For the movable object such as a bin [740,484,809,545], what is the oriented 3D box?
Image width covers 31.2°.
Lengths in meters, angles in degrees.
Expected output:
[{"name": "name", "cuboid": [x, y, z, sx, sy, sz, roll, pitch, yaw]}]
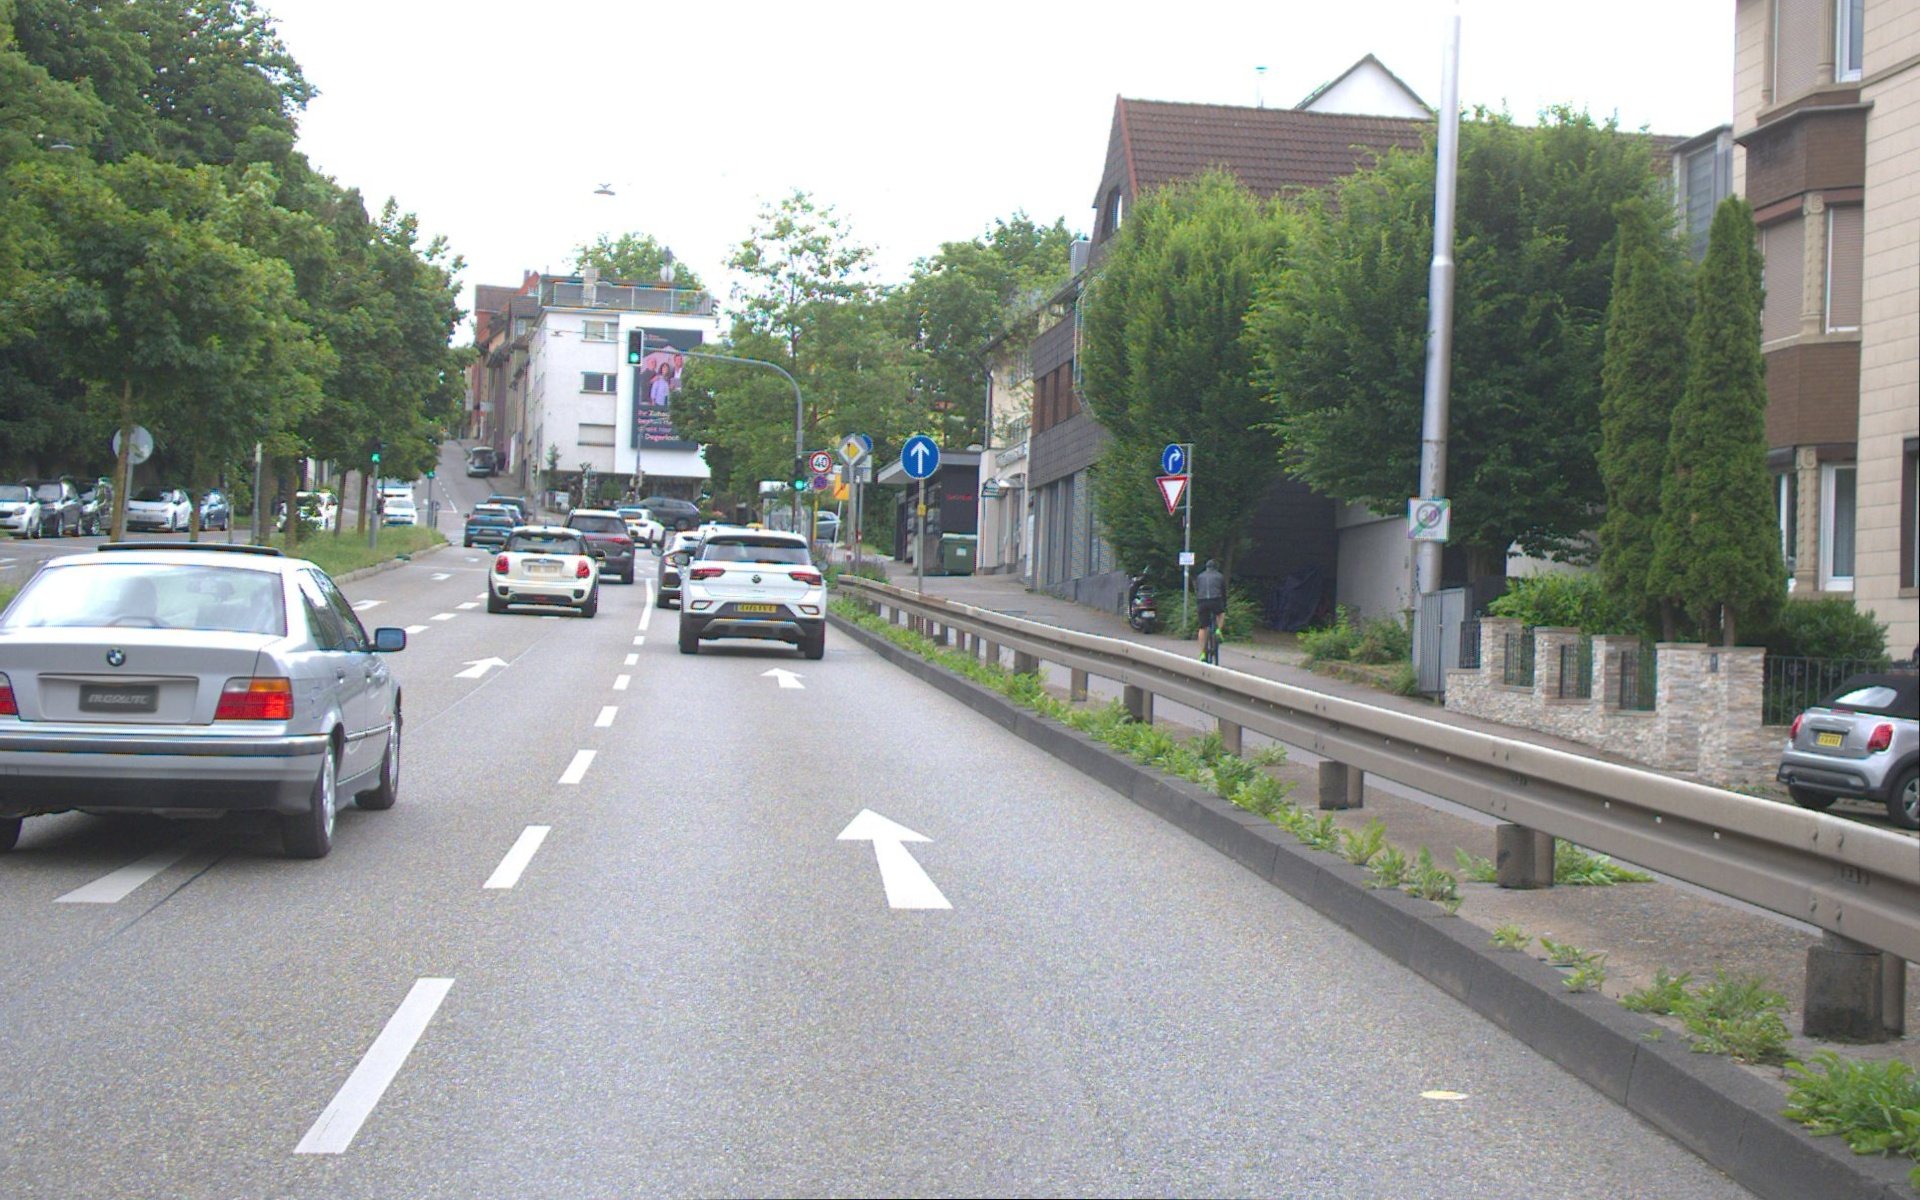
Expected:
[{"name": "movable object such as a bin", "cuboid": [-6.110, -2.828, 113.170, 1.891, 1.863, 1.529, 4, 2, -14]}]

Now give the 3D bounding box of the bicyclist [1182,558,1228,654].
[{"name": "bicyclist", "cuboid": [3.979, 0.088, 55.821, 0.566, 1.519, 0.959, -1, 2, -7]}]

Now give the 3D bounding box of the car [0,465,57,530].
[{"name": "car", "cuboid": [-26.857, -2.928, 97.257, 1.859, 1.664, 4.281, 4, 2, -7]}]

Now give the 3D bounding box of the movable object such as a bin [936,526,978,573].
[{"name": "movable object such as a bin", "cuboid": [-0.089, -1.628, 110.725, 1.195, 1.403, 0.711, 4, 2, -5]}]

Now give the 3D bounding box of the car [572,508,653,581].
[{"name": "car", "cuboid": [-7.986, -1.278, 78.778, 1.722, 1.634, 3.457, 0, 1, -8]}]

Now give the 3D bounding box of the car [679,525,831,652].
[{"name": "car", "cuboid": [-2.593, -0.166, 42.849, 1.797, 1.514, 3.457, 0, 1, -5]}]

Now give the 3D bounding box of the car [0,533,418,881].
[{"name": "car", "cuboid": [-3.664, 0.409, 16.759, 1.634, 1.378, 4.621, 1, 2, -4]}]

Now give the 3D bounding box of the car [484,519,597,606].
[{"name": "car", "cuboid": [-6.787, -0.622, 55.868, 1.722, 1.371, 3.457, 0, 1, -5]}]

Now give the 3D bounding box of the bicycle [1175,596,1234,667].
[{"name": "bicycle", "cuboid": [3.975, 0.509, 55.955, 0.566, 1.059, 2.006, -1, 2, -7]}]

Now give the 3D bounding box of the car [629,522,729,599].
[{"name": "car", "cuboid": [-5.183, -0.731, 63.179, 1.722, 1.371, 3.457, 0, 1, -6]}]

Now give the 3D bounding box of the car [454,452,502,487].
[{"name": "car", "cuboid": [-30.156, -8.146, 215.196, 2.510, 2.006, 5.182, 4, 2, -4]}]

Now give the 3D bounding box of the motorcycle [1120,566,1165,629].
[{"name": "motorcycle", "cuboid": [3.600, -0.059, 67.995, 0.608, 1.158, 2.041, 1, 2, -4]}]

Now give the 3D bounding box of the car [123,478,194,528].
[{"name": "car", "cuboid": [-27.867, -3.393, 119.579, 1.859, 1.588, 4.281, 4, 2, -7]}]

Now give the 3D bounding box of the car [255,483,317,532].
[{"name": "car", "cuboid": [-25.603, -3.525, 130.663, 1.859, 1.664, 4.281, 4, 2, -6]}]

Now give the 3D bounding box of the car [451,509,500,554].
[{"name": "car", "cuboid": [-17.447, -2.454, 123.805, 1.722, 1.577, 3.457, 0, 1, -8]}]

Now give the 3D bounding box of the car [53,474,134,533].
[{"name": "car", "cuboid": [-27.067, -3.035, 107.515, 1.859, 1.664, 4.281, 4, 2, -7]}]

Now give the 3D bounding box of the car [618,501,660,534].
[{"name": "car", "cuboid": [-13.481, -3.455, 144.288, 1.722, 1.371, 3.457, 0, 1, -6]}]

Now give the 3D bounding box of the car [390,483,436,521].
[{"name": "car", "cuboid": [-25.157, -4.523, 158.222, 1.859, 1.535, 4.281, 4, 2, -7]}]

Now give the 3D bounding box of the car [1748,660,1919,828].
[{"name": "car", "cuboid": [9.793, 1.469, 33.645, 3.602, 1.430, 1.705, 4, 2, -21]}]
